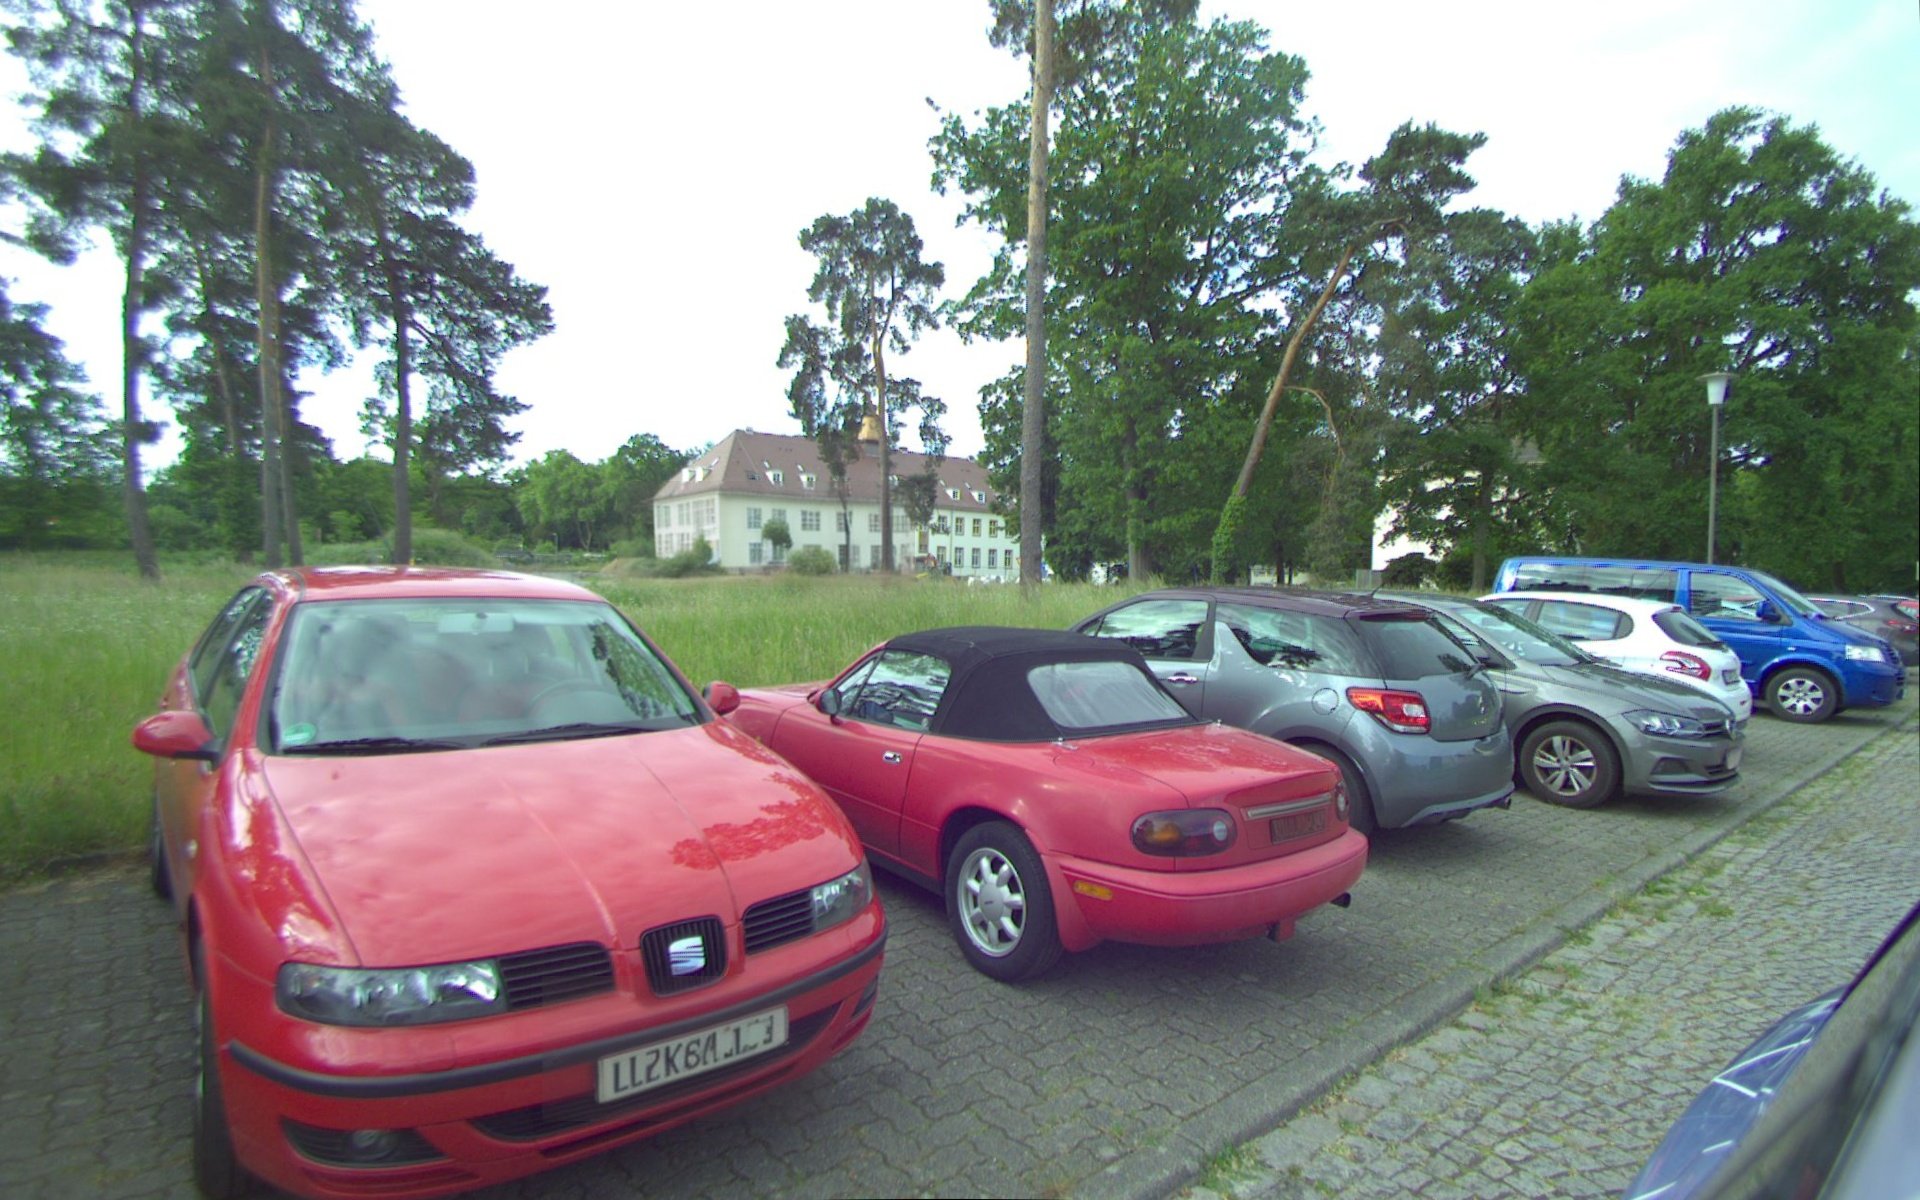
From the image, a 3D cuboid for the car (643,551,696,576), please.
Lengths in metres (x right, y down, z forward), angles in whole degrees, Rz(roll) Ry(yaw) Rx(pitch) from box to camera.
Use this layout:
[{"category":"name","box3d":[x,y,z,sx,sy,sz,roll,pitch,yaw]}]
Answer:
[{"category":"car","box3d":[-28.836,-3.658,100.362,5.848,2.268,2.282,5,4,42]}]

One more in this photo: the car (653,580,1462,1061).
[{"category":"car","box3d":[0.138,0.637,5.076,1.728,1.251,3.870,0,4,-42]}]

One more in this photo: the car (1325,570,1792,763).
[{"category":"car","box3d":[6.140,0.529,10.761,1.727,1.490,3.873,0,4,-40]}]

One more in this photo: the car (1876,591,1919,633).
[{"category":"car","box3d":[35.356,0.503,36.042,1.555,1.443,3.875,0,4,-42]}]

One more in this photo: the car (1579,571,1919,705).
[{"category":"car","box3d":[12.112,0.471,15.676,1.810,1.489,3.872,0,6,-42]}]

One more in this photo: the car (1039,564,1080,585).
[{"category":"car","box3d":[9.736,-2.479,98.881,1.994,2.038,3.936,2,2,44]}]

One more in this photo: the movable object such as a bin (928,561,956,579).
[{"category":"movable object such as a bin","box3d":[-2.088,-3.436,117.545,2.933,2.038,1.553,0,2,-41]}]

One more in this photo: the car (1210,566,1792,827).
[{"category":"car","box3d":[4.245,0.559,8.436,1.727,1.490,3.871,0,4,-41]}]

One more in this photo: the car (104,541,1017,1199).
[{"category":"car","box3d":[-1.951,0.585,3.766,1.838,1.433,4.271,0,4,-41]}]

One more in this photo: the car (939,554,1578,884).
[{"category":"car","box3d":[1.782,0.522,6.995,1.728,1.490,3.870,0,4,-42]}]

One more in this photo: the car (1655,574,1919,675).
[{"category":"car","box3d":[16.527,0.401,19.998,1.791,1.618,4.268,0,4,-42]}]

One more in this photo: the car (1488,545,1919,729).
[{"category":"car","box3d":[10.258,0.328,13.973,1.969,1.969,4.817,0,4,-42]}]

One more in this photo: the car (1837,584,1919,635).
[{"category":"car","box3d":[31.709,0.355,33.264,1.555,1.556,4.147,0,4,-42]}]

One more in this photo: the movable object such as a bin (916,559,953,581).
[{"category":"movable object such as a bin","box3d":[-2.514,-2.940,99.396,3.181,2.038,1.682,0,2,-34]}]

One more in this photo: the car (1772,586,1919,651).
[{"category":"car","box3d":[24.080,0.479,26.702,1.555,1.477,3.892,0,4,-42]}]
